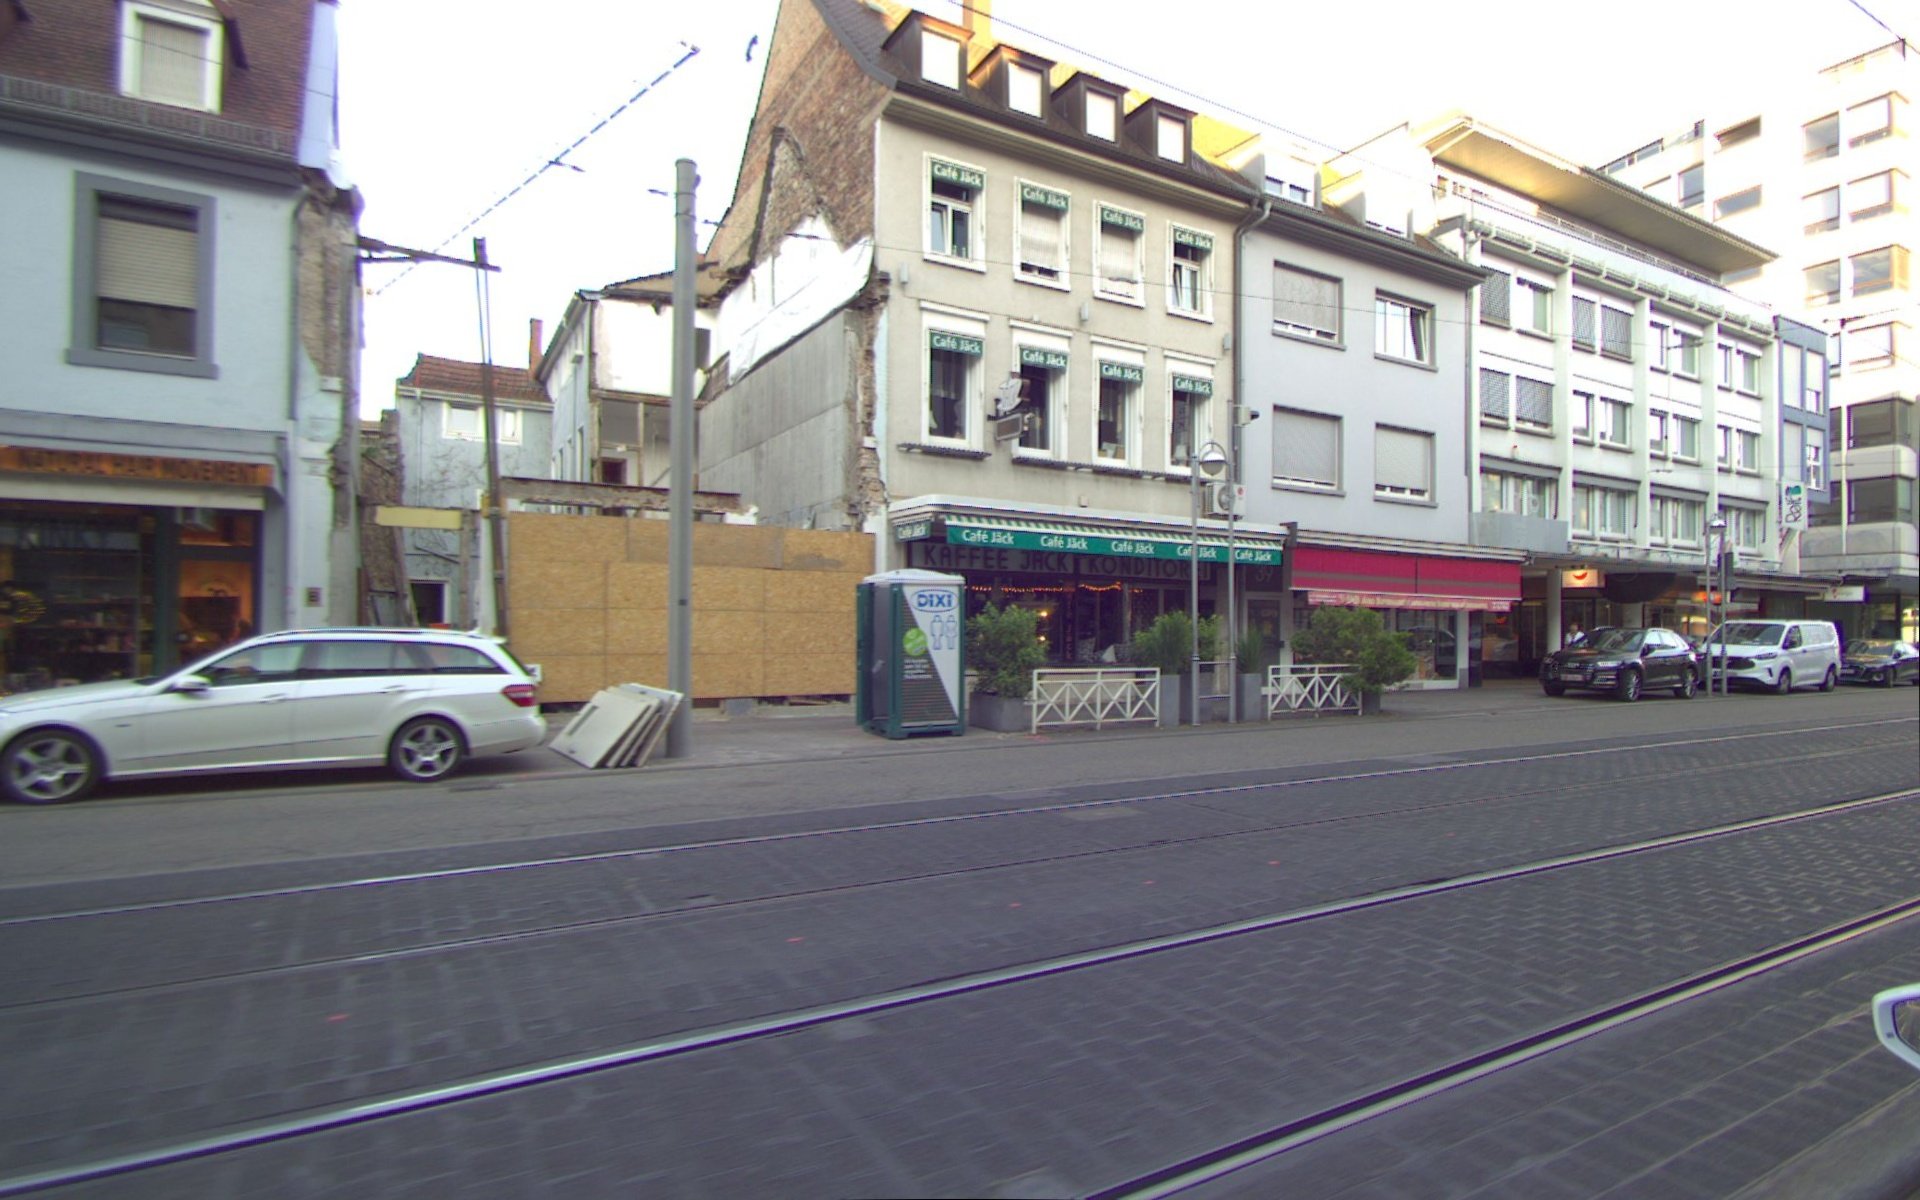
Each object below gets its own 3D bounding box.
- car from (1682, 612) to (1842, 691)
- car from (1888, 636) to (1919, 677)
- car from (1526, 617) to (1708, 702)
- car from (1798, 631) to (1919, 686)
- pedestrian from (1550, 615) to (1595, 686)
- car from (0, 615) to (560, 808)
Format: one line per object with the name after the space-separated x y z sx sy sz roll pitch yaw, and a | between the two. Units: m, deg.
22.238 1.389 27.808 4.787 1.961 1.907 1 1 -31 | car
34.214 1.983 34.968 3.847 1.357 1.781 1 1 -31 | car
15.651 1.367 23.894 4.379 1.786 1.907 1 1 -31 | car
28.556 1.800 31.660 4.577 1.541 1.907 1 1 -31 | car
16.422 1.349 26.931 0.827 1.844 0.645 1 1 -30 | pedestrian
-6.721 0.981 10.115 4.785 1.524 1.840 1 1 -30 | car
